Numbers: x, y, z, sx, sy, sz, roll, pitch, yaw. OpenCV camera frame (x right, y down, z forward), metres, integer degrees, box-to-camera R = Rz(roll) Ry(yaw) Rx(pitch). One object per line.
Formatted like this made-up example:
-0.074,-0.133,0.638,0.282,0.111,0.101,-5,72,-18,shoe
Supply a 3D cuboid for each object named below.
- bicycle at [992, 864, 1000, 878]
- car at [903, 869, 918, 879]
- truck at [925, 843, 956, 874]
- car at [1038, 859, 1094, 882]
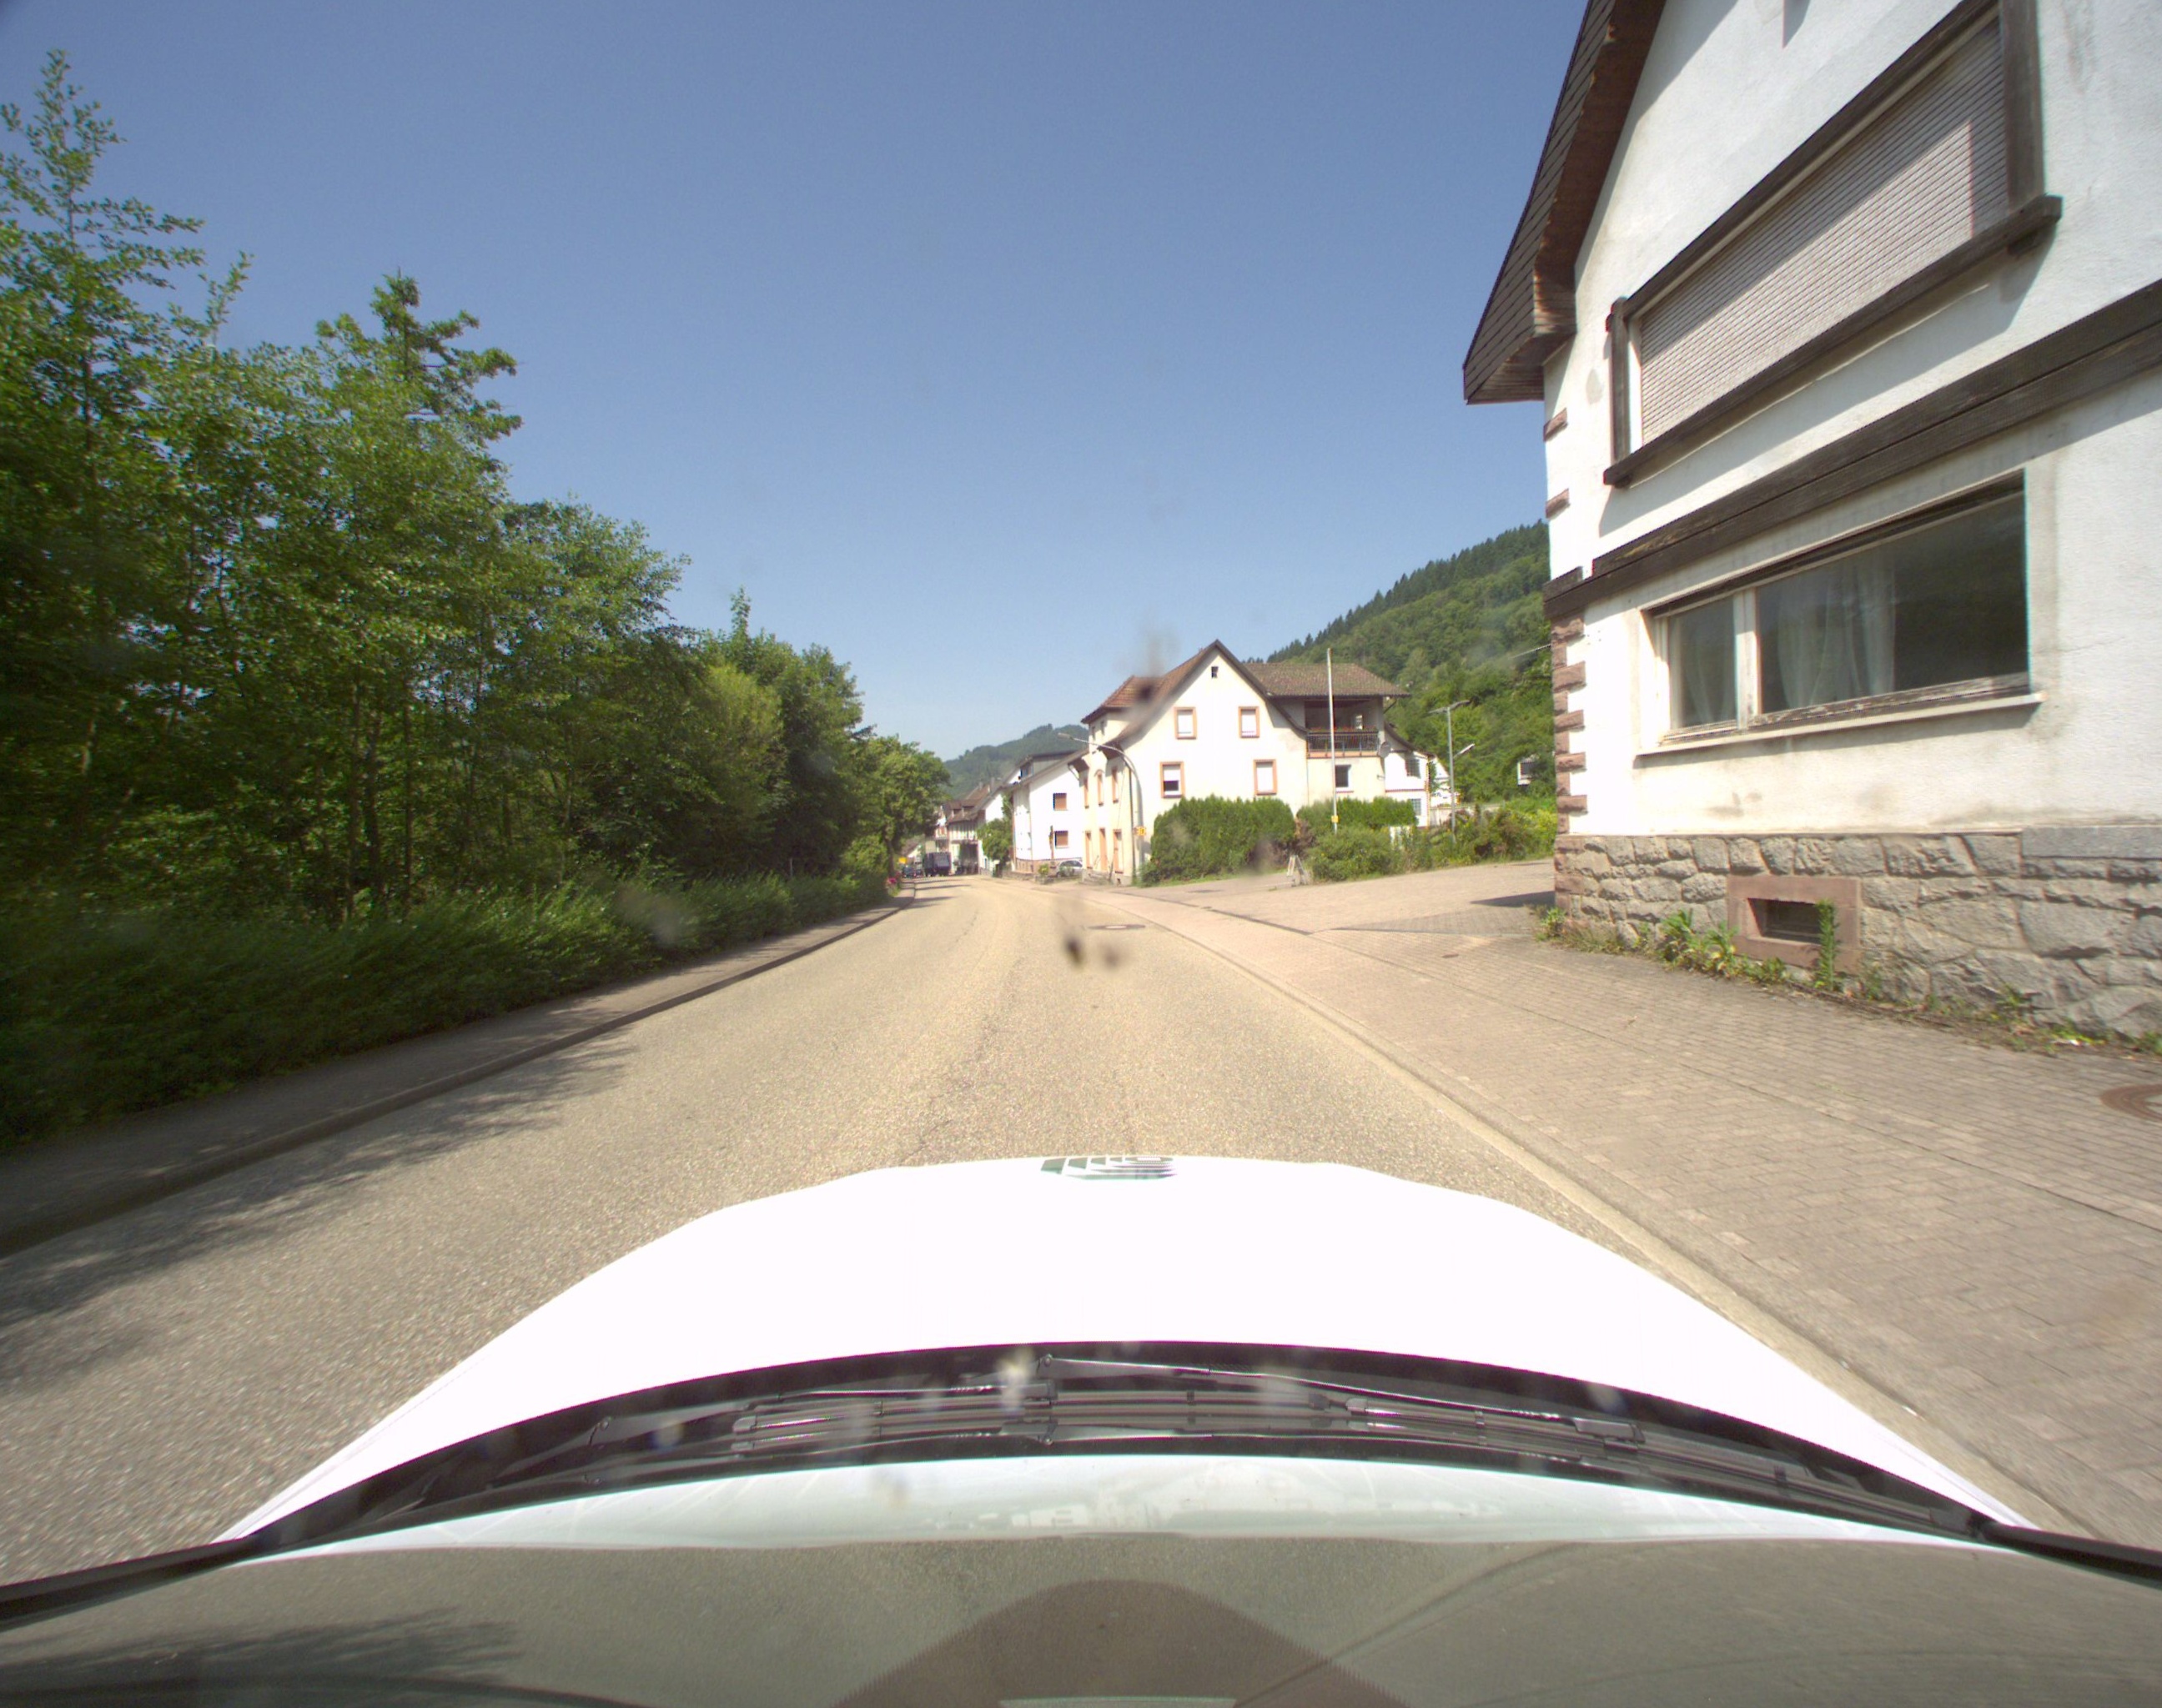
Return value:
-8.754,1.745,83.947,0.425,1.396,2.268,-6,0,-11,bicycle
-25.623,2.994,122.087,1.671,1.418,4.061,-4,-1,-18,car
-20.396,0.705,117.673,3.370,3.781,8.395,-6,-1,-15,truck
-1.087,1.197,59.594,3.727,1.427,1.620,-4,0,33,car
